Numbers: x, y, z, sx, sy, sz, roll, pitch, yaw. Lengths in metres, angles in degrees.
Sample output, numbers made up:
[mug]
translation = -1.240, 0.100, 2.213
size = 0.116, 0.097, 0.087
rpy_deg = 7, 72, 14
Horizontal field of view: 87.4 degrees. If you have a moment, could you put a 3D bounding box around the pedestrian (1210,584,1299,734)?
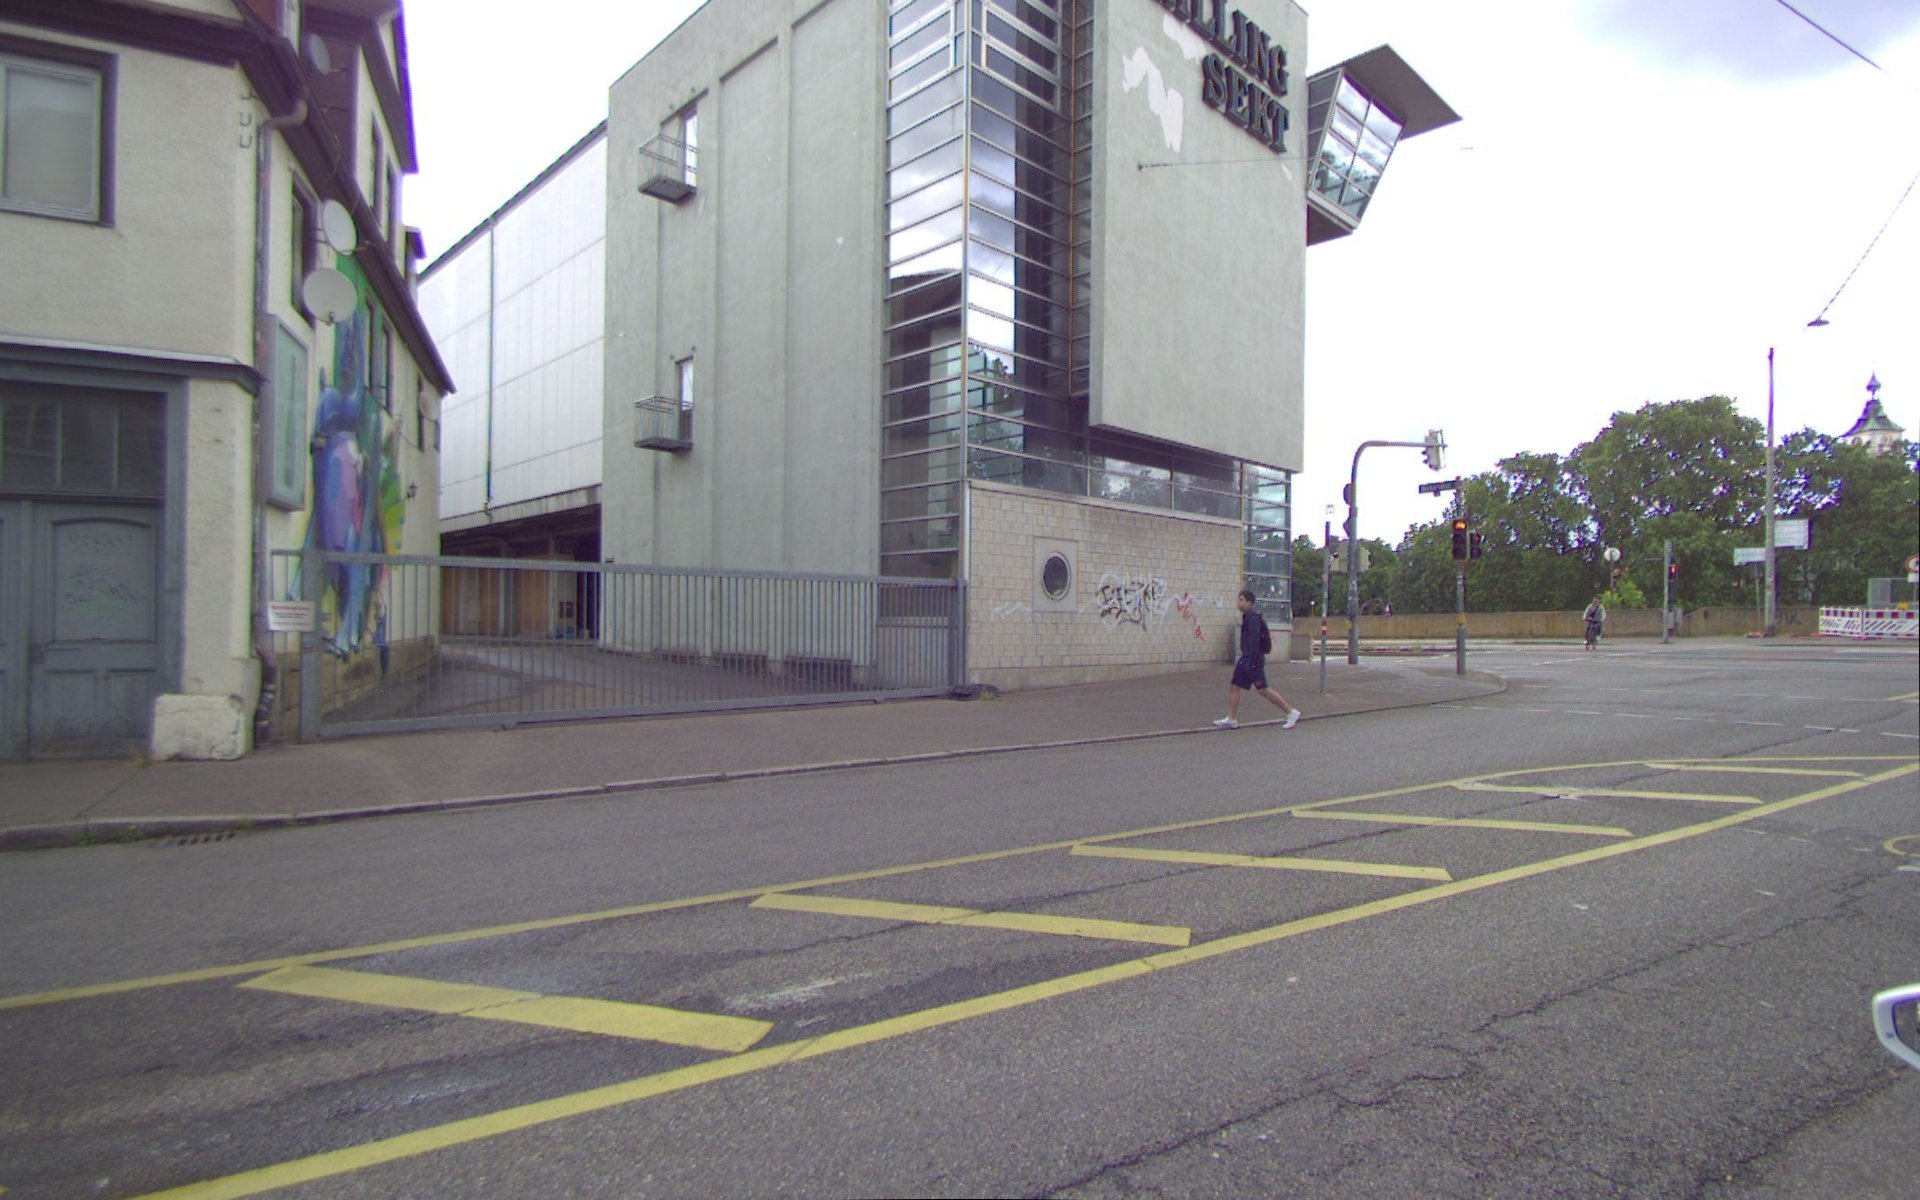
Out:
[pedestrian]
translation = 3.943, 0.741, 13.402
size = 1.070, 1.911, 1.057
rpy_deg = 0, 1, 21

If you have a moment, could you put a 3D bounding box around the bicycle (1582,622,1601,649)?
[bicycle]
translation = 21.877, 1.224, 34.806
size = 0.533, 0.904, 1.875
rpy_deg = 0, -1, 32

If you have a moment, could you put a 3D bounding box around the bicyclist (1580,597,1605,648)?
[bicyclist]
translation = 21.723, 0.768, 34.510
size = 0.713, 1.723, 0.809
rpy_deg = 0, -1, 33
